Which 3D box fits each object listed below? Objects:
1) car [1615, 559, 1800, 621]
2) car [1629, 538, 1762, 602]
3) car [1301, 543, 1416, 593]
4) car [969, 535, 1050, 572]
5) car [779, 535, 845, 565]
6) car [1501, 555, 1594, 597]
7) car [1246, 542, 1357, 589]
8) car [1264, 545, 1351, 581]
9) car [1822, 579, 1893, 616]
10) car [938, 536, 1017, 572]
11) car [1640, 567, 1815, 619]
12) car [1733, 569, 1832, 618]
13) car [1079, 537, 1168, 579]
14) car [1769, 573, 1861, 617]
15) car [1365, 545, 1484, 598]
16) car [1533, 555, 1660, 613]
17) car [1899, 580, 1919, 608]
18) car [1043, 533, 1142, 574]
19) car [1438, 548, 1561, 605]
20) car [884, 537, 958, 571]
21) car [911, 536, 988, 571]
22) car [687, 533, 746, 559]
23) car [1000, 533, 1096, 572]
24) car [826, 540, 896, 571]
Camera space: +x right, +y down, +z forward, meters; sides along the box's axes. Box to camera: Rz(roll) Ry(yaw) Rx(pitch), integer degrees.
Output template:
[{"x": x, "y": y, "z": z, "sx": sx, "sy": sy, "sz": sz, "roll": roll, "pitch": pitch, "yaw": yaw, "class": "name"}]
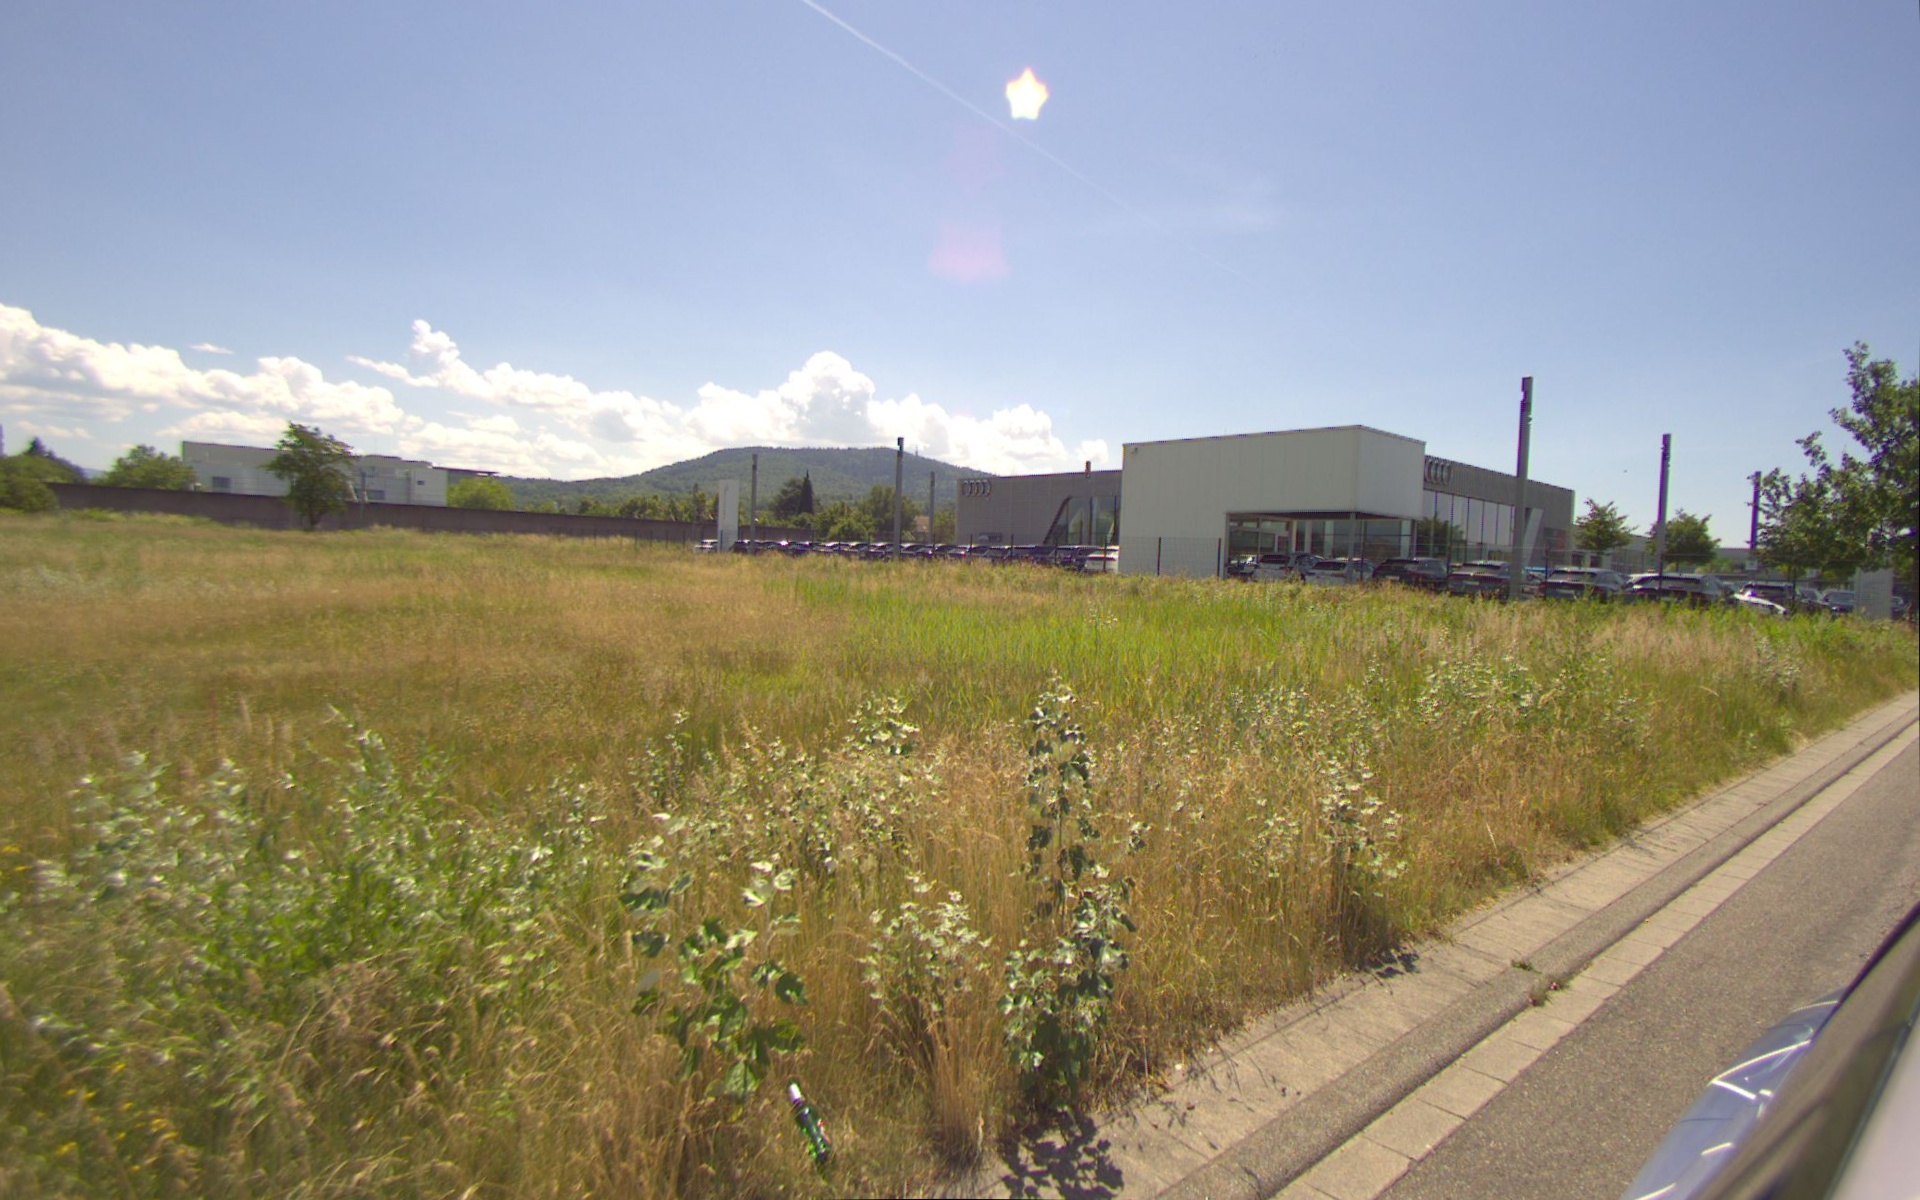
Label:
[{"x": 24.923, "y": -0.381, "z": 33.888, "sx": 1.995, "sy": 1.713, "sz": 4.542, "roll": 1, "pitch": 4, "yaw": -39, "class": "car"}, {"x": 22.318, "y": -0.875, "z": 30.646, "sx": 5.017, "sy": 1.713, "sz": 2.030, "roll": 0, "pitch": 4, "yaw": -40, "class": "car"}, {"x": 15.336, "y": -1.202, "z": 38.809, "sx": 4.723, "sy": 1.674, "sz": 2.030, "roll": 0, "pitch": 4, "yaw": -40, "class": "car"}, {"x": 2.596, "y": -2.427, "z": 53.032, "sx": 3.931, "sy": 1.806, "sz": 1.997, "roll": 0, "pitch": 3, "yaw": -42, "class": "car"}, {"x": -9.927, "y": -3.336, "z": 67.882, "sx": 3.931, "sy": 1.806, "sz": 1.997, "roll": 0, "pitch": 3, "yaw": -42, "class": "car"}, {"x": 25.474, "y": -1.031, "z": 43.798, "sx": 4.696, "sy": 1.609, "sz": 2.029, "roll": 0, "pitch": 4, "yaw": -41, "class": "car"}, {"x": 13.813, "y": -1.369, "z": 40.866, "sx": 4.723, "sy": 1.674, "sz": 2.030, "roll": 0, "pitch": 4, "yaw": -40, "class": "car"}, {"x": 17.729, "y": -1.852, "z": 51.510, "sx": 4.696, "sy": 1.609, "sz": 2.029, "roll": 0, "pitch": 4, "yaw": -41, "class": "car"}, {"x": 43.550, "y": -0.172, "z": 49.064, "sx": 4.901, "sy": 1.473, "sz": 1.966, "roll": -2, "pitch": 6, "yaw": -42, "class": "car"}, {"x": 0.960, "y": -2.506, "z": 55.053, "sx": 3.931, "sy": 1.806, "sz": 1.997, "roll": 0, "pitch": 3, "yaw": -42, "class": "car"}, {"x": 26.894, "y": -0.276, "z": 35.578, "sx": 1.996, "sy": 1.474, "sz": 4.539, "roll": 0, "pitch": 4, "yaw": -41, "class": "car"}, {"x": 30.854, "y": -0.252, "z": 37.906, "sx": 4.696, "sy": 1.592, "sz": 2.029, "roll": 0, "pitch": 4, "yaw": -41, "class": "car"}, {"x": 7.624, "y": -1.950, "z": 47.038, "sx": 3.931, "sy": 1.806, "sz": 1.997, "roll": 0, "pitch": 3, "yaw": -42, "class": "car"}, {"x": 35.075, "y": -0.218, "z": 41.485, "sx": 5.148, "sy": 1.532, "sz": 2.030, "roll": 0, "pitch": 6, "yaw": -41, "class": "car"}, {"x": 16.914, "y": -1.006, "z": 36.747, "sx": 4.723, "sy": 1.699, "sz": 2.030, "roll": 0, "pitch": 4, "yaw": -40, "class": "car"}, {"x": 20.473, "y": -0.507, "z": 32.459, "sx": 4.723, "sy": 1.629, "sz": 2.030, "roll": 0, "pitch": 4, "yaw": -40, "class": "car"}, {"x": 57.812, "y": -0.297, "z": 60.588, "sx": 4.156, "sy": 1.589, "sz": 1.891, "roll": 0, "pitch": 6, "yaw": -43, "class": "car"}, {"x": 6.482, "y": -2.238, "z": 49.227, "sx": 4.723, "sy": 1.746, "sz": 2.030, "roll": 0, "pitch": 4, "yaw": -40, "class": "car"}, {"x": 18.486, "y": -0.795, "z": 34.596, "sx": 4.723, "sy": 1.746, "sz": 2.030, "roll": 0, "pitch": 4, "yaw": -40, "class": "car"}, {"x": -2.260, "y": -2.682, "z": 58.898, "sx": 3.931, "sy": 1.806, "sz": 1.997, "roll": 0, "pitch": 3, "yaw": -42, "class": "car"}, {"x": -0.562, "y": -2.612, "z": 56.874, "sx": 3.931, "sy": 1.806, "sz": 1.997, "roll": 0, "pitch": 3, "yaw": -42, "class": "car"}, {"x": -18.810, "y": -4.178, "z": 78.169, "sx": 3.931, "sy": 1.806, "sz": 1.997, "roll": 0, "pitch": 3, "yaw": -42, "class": "car"}, {"x": 4.496, "y": -2.380, "z": 51.293, "sx": 4.723, "sy": 1.746, "sz": 2.030, "roll": 0, "pitch": 4, "yaw": -40, "class": "car"}, {"x": -6.215, "y": -2.777, "z": 63.654, "sx": 3.931, "sy": 1.806, "sz": 1.997, "roll": 0, "pitch": 3, "yaw": -42, "class": "car"}]
